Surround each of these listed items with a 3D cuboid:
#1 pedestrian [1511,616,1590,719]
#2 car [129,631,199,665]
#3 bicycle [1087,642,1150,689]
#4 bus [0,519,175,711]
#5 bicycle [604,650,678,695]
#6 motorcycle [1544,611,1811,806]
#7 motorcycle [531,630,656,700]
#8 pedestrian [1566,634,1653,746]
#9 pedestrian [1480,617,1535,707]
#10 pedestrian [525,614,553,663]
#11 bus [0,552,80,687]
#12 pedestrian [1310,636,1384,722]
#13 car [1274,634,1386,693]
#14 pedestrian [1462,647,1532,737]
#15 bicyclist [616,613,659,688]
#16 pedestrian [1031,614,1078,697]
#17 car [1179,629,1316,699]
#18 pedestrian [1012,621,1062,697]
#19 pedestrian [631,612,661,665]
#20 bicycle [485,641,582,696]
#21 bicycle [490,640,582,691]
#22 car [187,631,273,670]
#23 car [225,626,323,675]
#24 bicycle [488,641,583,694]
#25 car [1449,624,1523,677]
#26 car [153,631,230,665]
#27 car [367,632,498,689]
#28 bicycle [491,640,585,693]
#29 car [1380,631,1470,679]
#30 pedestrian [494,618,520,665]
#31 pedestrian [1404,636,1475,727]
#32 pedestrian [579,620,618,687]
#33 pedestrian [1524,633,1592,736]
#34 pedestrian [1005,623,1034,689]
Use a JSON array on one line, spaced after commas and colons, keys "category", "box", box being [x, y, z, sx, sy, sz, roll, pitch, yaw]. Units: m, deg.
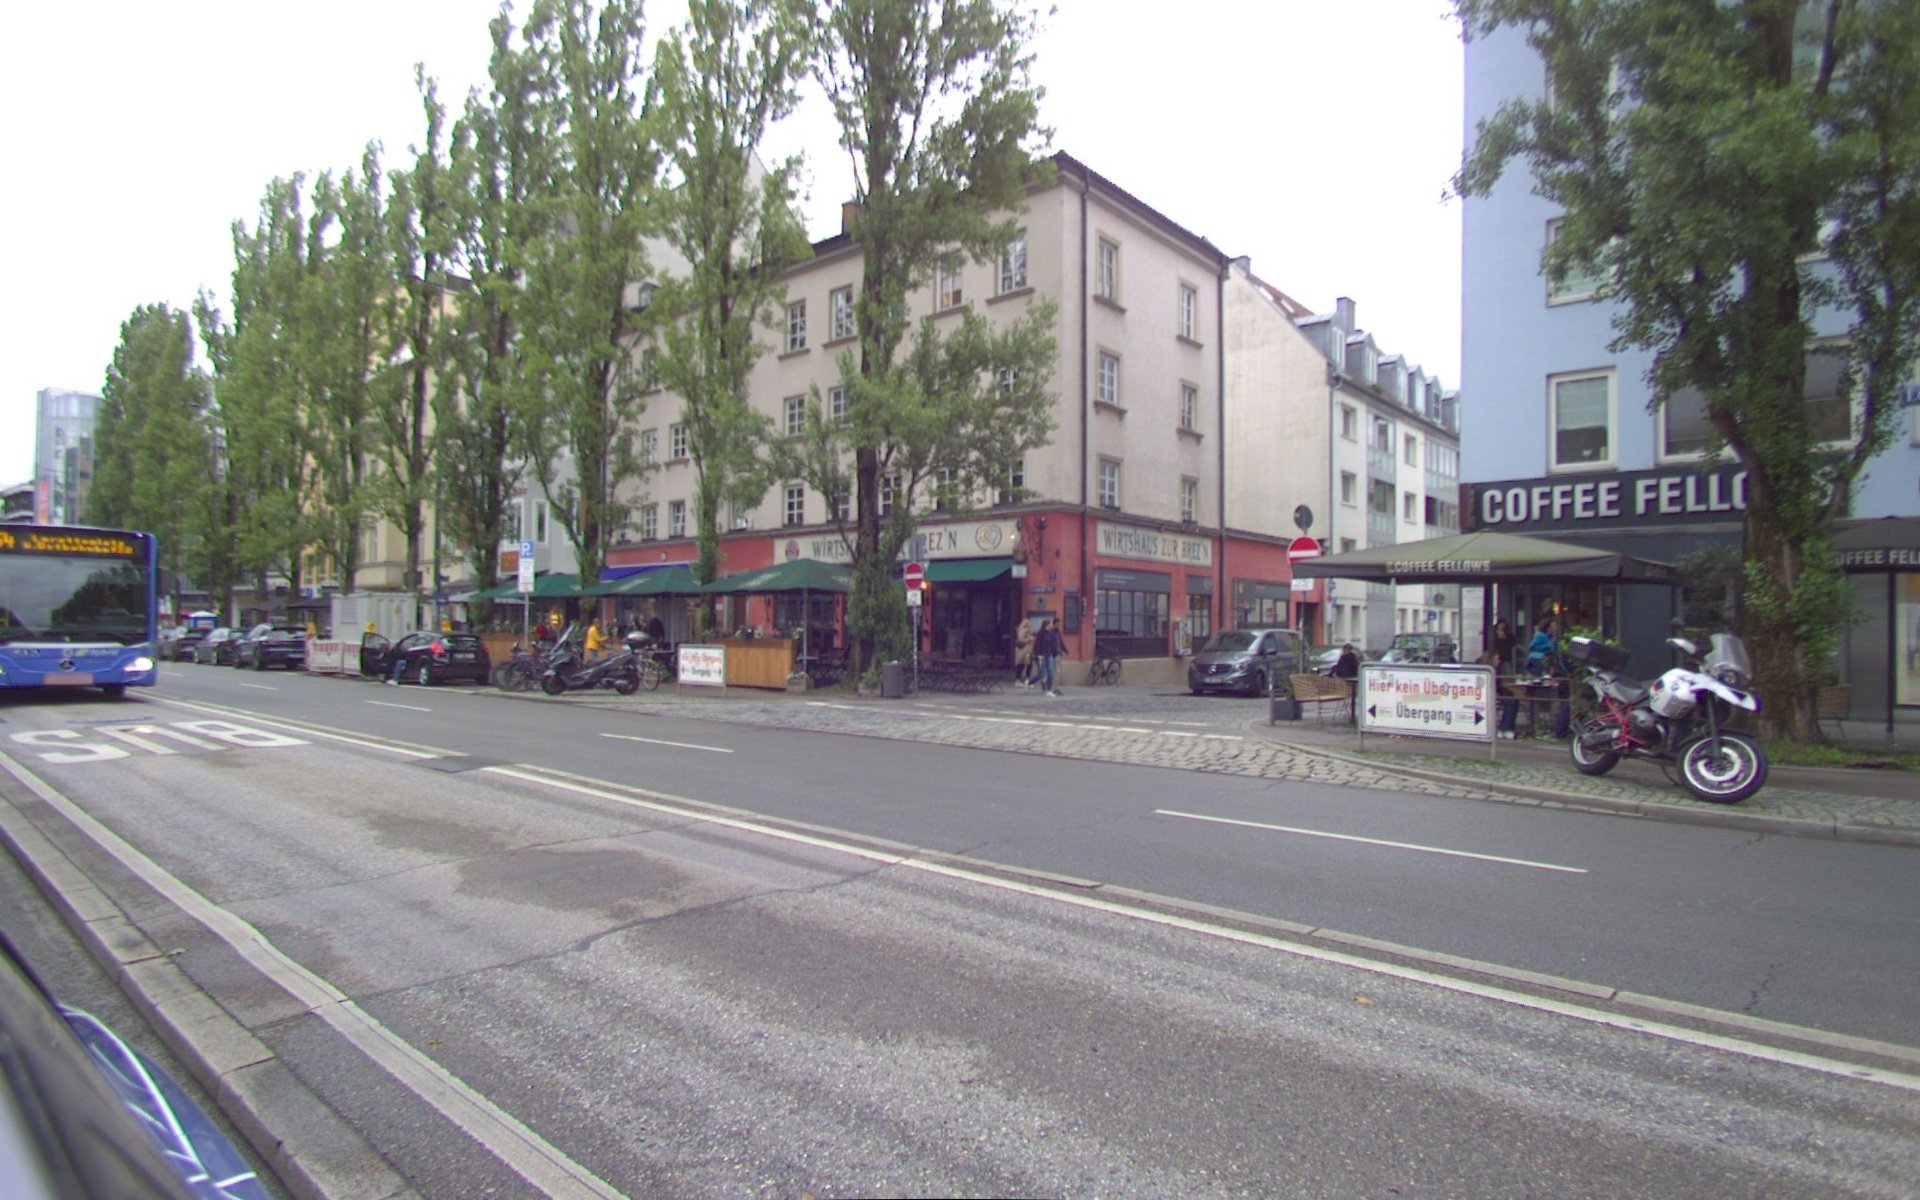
[{"category": "pedestrian", "box": [9.858, 1.101, 16.915, 0.689, 1.659, 0.951, 2, -3, -41]}, {"category": "car", "box": [-37.774, 2.244, 47.993, 4.572, 1.515, 1.778, -1, -3, 42]}, {"category": "bicycle", "box": [4.332, 1.767, 27.531, 0.645, 1.214, 2.317, -1, -3, 39]}, {"category": "bus", "box": [-18.147, 0.342, 19.652, 10.046, 2.972, 2.661, -1, -2, 41]}, {"category": "bicycle", "box": [-7.414, 1.662, 23.469, 2.173, 0.976, 0.605, -2, -2, 42]}, {"category": "motorcycle", "box": [6.488, 0.897, 9.372, 0.704, 1.575, 2.348, -1, -1, -2]}, {"category": "motorcycle", "box": [-7.789, 1.366, 21.529, 2.426, 1.425, 0.744, 0, -2, 8]}, {"category": "pedestrian", "box": [8.352, 1.131, 13.012, 0.847, 1.373, 0.690, -2, -3, 40]}, {"category": "pedestrian", "box": [11.187, 1.252, 20.708, 0.692, 1.786, 0.947, 0, -2, 10]}, {"category": "pedestrian", "box": [-16.802, 1.542, 40.385, 0.905, 1.941, 0.690, -2, -3, 44]}, {"category": "bus", "box": [-24.860, 0.515, 25.484, 10.046, 2.972, 2.655, -1, -2, 41]}, {"category": "pedestrian", "box": [6.428, 1.288, 16.837, 0.950, 1.373, 0.690, -2, -3, 44]}, {"category": "car", "box": [12.022, 2.037, 32.740, 1.982, 1.780, 4.525, -1, -4, 40]}, {"category": "pedestrian", "box": [7.486, 1.251, 14.097, 0.699, 1.192, 0.807, -1, -3, 39]}, {"category": "bicyclist", "box": [-7.509, 1.160, 23.569, 0.816, 1.718, 0.598, -1, -2, 42]}, {"category": "pedestrian", "box": [2.268, 1.310, 24.254, 0.905, 1.941, 0.690, -2, -3, 44]}, {"category": "car", "box": [8.042, 1.749, 28.033, 1.982, 1.780, 4.525, -1, -4, 40]}, {"category": "pedestrian", "box": [1.797, 1.368, 23.706, 0.950, 1.735, 0.690, -2, -3, 44]}, {"category": "pedestrian", "box": [-11.643, 1.427, 37.537, 0.905, 1.941, 0.690, -2, -3, 44]}, {"category": "bicycle", "box": [-9.451, 1.506, 22.461, 1.949, 1.134, 0.362, -1, 0, -12]}, {"category": "bicycle", "box": [-9.933, 1.531, 23.750, 1.949, 1.134, 0.343, -1, 0, -12]}, {"category": "car", "box": [-28.899, 1.955, 40.031, 4.572, 1.451, 1.778, -1, -3, 42]}, {"category": "car", "box": [-24.505, 1.764, 36.076, 4.572, 1.625, 1.778, -1, -3, 42]}, {"category": "bicycle", "box": [-9.545, 1.514, 22.789, 1.949, 1.134, 0.283, -1, 0, -12]}, {"category": "car", "box": [24.599, 2.366, 47.249, 1.982, 2.384, 4.523, -2, -4, 42]}, {"category": "car", "box": [-33.830, 2.082, 44.513, 4.572, 1.451, 1.778, -1, -3, 42]}, {"category": "car", "box": [-14.350, 1.608, 27.468, 3.780, 1.433, 1.739, -1, -3, 38]}, {"category": "bicycle", "box": [-9.605, 1.515, 23.067, 1.949, 1.134, 0.283, -1, 0, -12]}, {"category": "car", "box": [18.442, 2.173, 40.030, 2.116, 1.780, 4.525, -1, -4, 40]}, {"category": "pedestrian", "box": [-18.934, 1.726, 42.314, 0.905, 1.941, 0.690, -2, -3, 44]}, {"category": "pedestrian", "box": [7.506, 1.245, 15.833, 0.819, 1.373, 0.690, -2, -3, 44]}, {"category": "pedestrian", "box": [-9.633, 1.419, 26.987, 0.699, 1.739, 0.722, -2, -3, 41]}, {"category": "pedestrian", "box": [8.300, 1.140, 14.036, 0.699, 1.373, 0.706, -1, -3, 39]}, {"category": "pedestrian", "box": [1.506, 1.410, 25.537, 0.723, 1.636, 0.698, 0, -2, 6]}]
